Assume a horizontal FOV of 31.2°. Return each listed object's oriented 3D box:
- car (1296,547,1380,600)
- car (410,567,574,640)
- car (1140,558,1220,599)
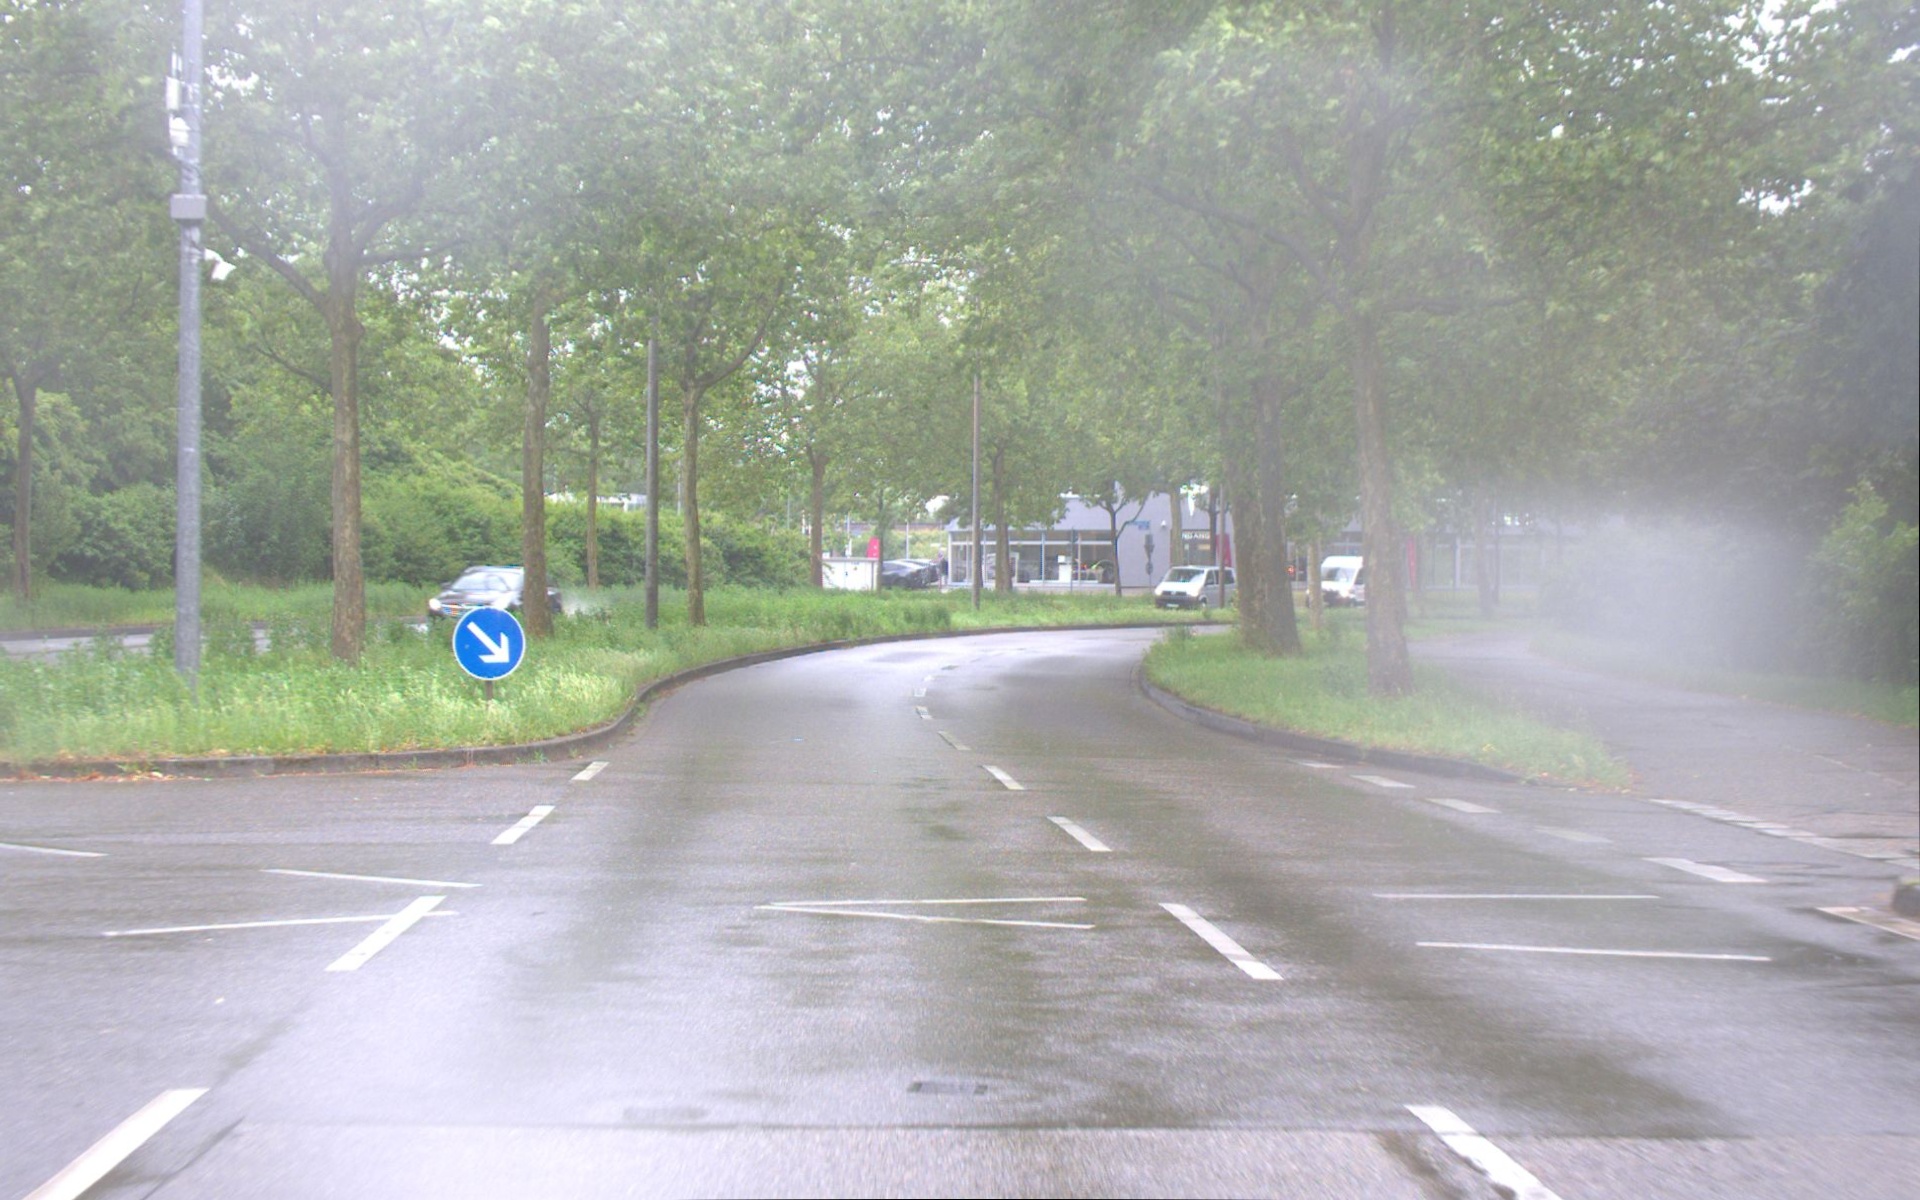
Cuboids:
[{"bbox_3d":[16.580,-1.163,150.401,2.284,2.264,5.962,1,1,20],"label":"car"},{"bbox_3d":[-9.611,0.049,70.953,2.004,1.447,4.989,0,0,9],"label":"car"},{"bbox_3d":[8.674,-0.850,135.264,1.973,1.558,4.726,1,1,18],"label":"car"}]
